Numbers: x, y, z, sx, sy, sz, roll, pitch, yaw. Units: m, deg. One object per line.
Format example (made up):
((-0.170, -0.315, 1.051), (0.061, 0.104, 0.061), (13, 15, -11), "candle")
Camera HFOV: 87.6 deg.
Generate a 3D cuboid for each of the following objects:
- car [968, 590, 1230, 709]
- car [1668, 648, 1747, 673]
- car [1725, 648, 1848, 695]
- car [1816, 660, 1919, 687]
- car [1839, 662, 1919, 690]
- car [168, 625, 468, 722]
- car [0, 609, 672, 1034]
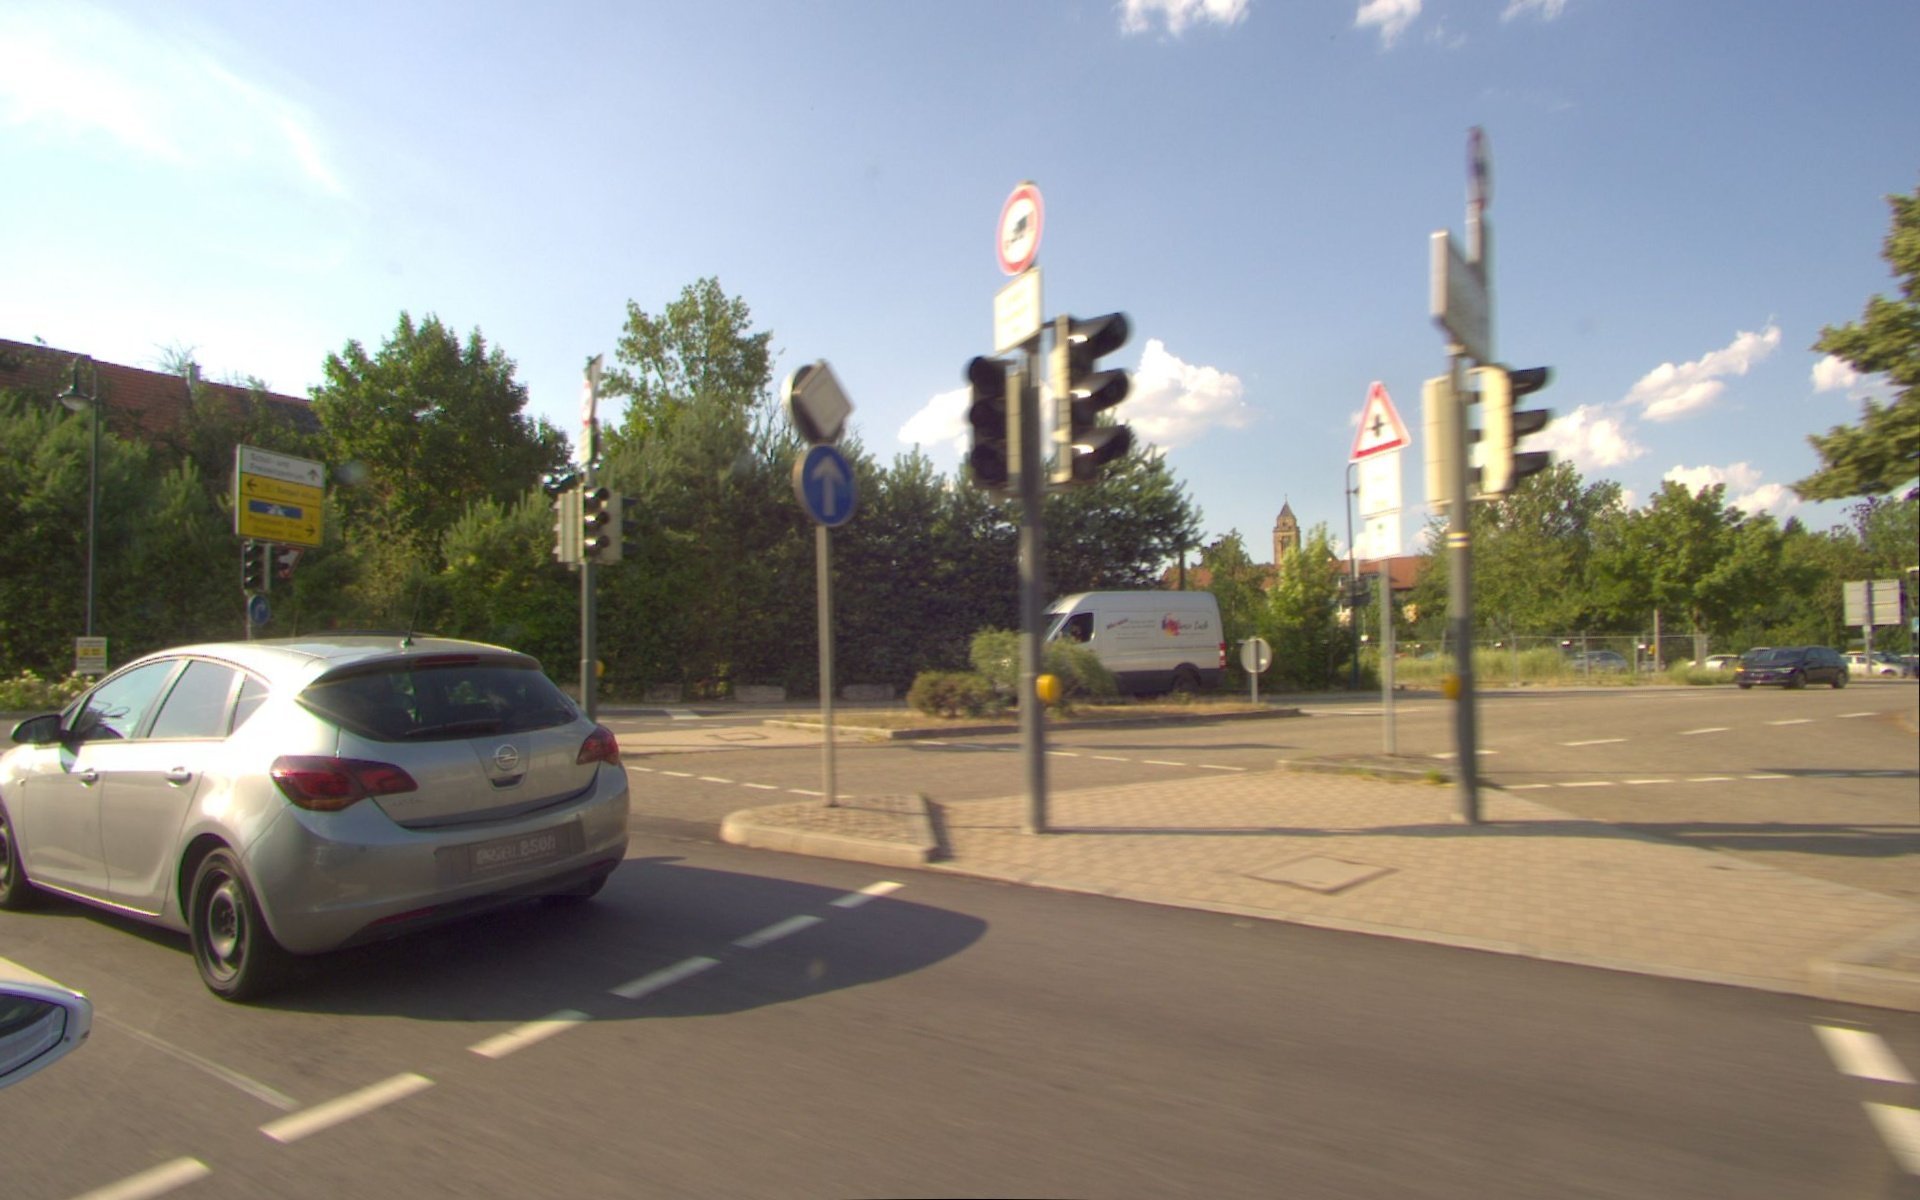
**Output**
((3.256, 1.121, 23.540), (5.761, 2.554, 2.189), (1, -1, -20), "car")
((55.568, 4.523, 74.496), (1.871, 1.744, 4.288), (0, -3, -36), "car")
((27.996, 2.380, 33.913), (3.941, 1.471, 1.850), (1, -2, -28), "car")
((53.695, 4.346, 59.232), (1.871, 1.473, 4.288), (0, -3, -36), "car")
((52.788, 4.262, 56.662), (1.871, 1.473, 4.288), (0, -3, -36), "car")
((-11.269, 1.258, 17.933), (4.198, 1.587, 1.789), (1, -2, -20), "car")
((-3.693, 0.831, 5.424), (4.244, 1.509, 1.718), (-1, -1, 32), "car")
